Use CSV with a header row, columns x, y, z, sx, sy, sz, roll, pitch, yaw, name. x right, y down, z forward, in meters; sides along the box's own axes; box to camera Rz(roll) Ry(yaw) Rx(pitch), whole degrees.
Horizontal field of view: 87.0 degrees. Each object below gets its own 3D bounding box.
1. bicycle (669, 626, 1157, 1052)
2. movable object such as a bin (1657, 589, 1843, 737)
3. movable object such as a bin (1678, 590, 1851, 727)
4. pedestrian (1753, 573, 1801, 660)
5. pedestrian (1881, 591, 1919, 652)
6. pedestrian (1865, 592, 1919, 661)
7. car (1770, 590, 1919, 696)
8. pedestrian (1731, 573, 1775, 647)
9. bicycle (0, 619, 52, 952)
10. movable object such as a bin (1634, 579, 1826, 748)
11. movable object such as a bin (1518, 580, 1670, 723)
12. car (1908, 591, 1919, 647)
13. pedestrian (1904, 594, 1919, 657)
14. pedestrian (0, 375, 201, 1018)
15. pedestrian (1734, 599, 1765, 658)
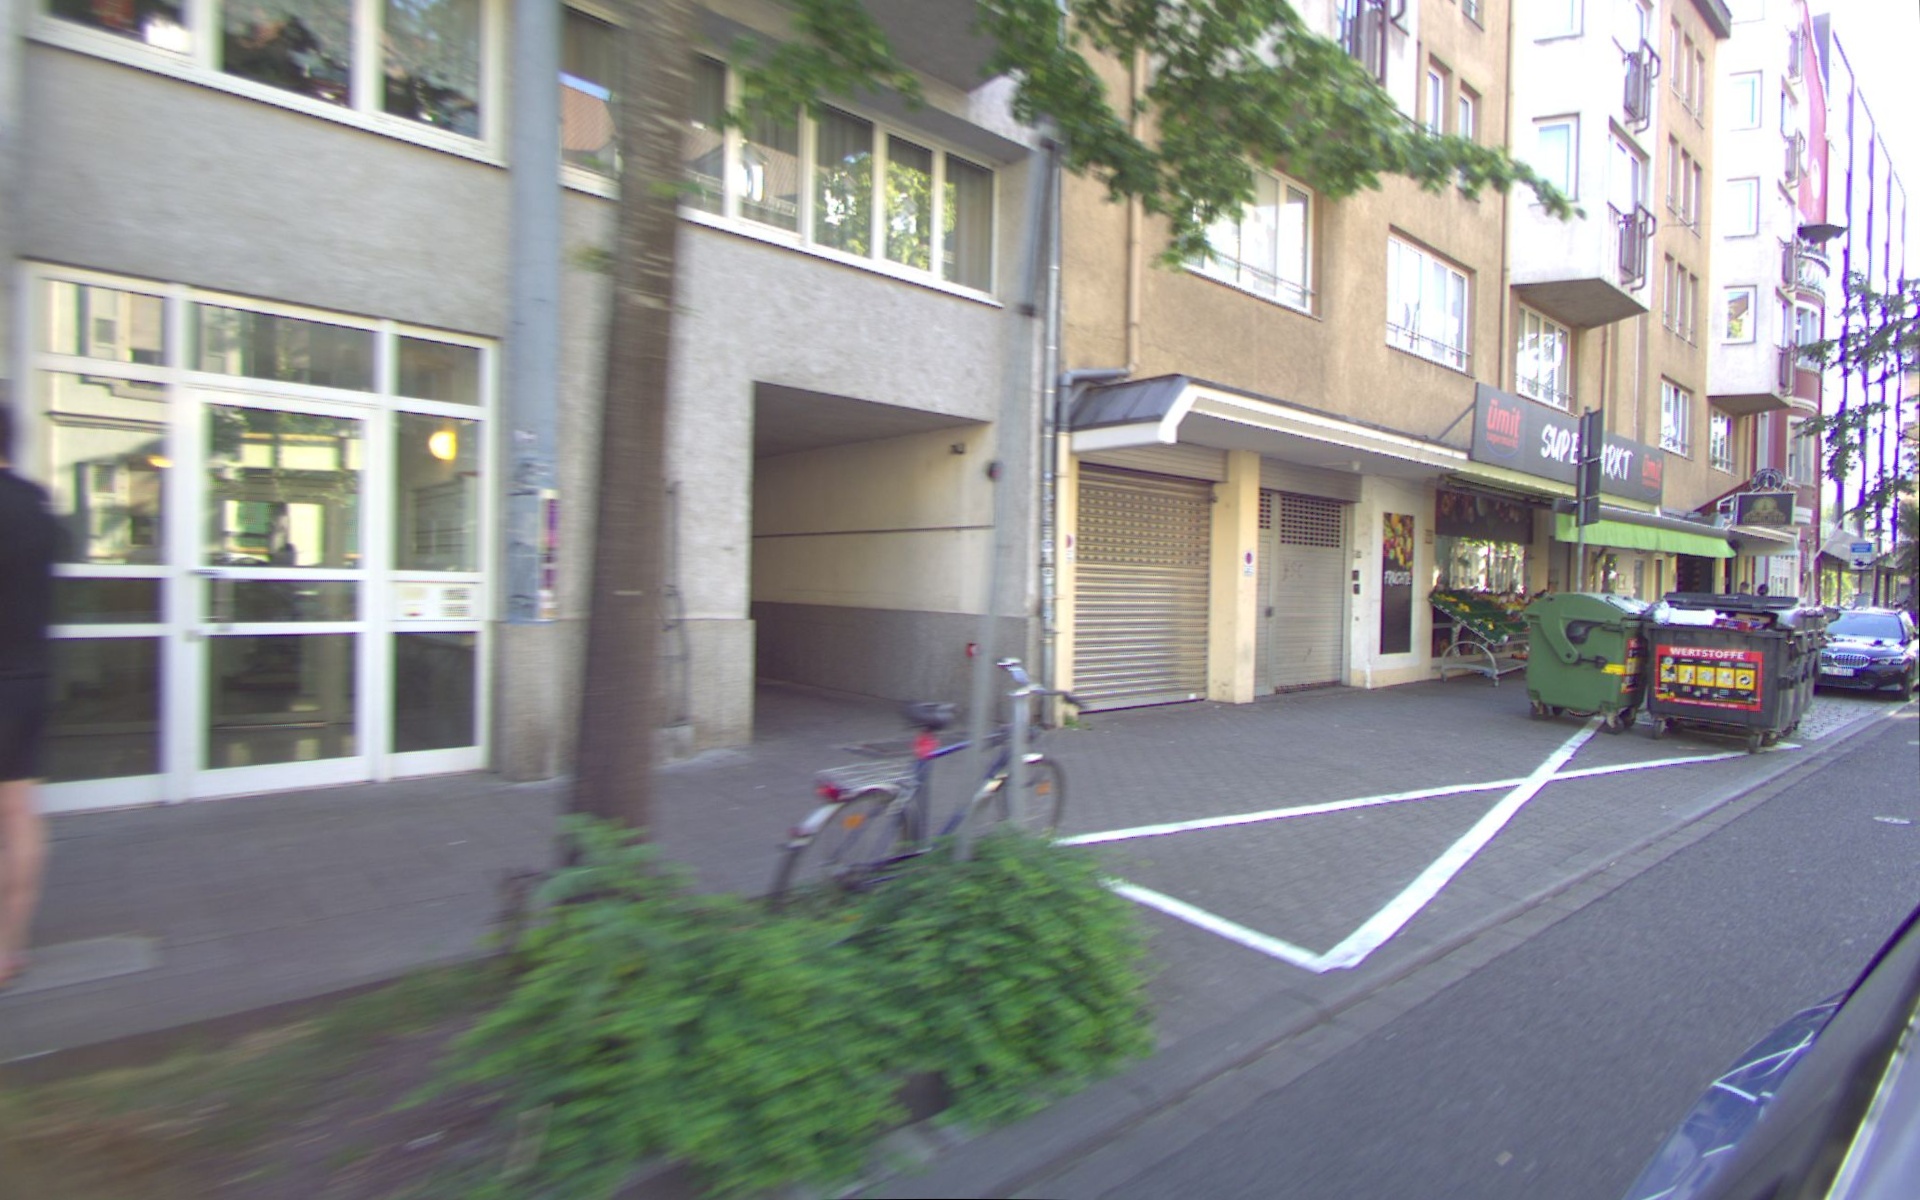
x,y,z,sx,sy,sz,roll,pitch,yaw,name
-0.053,0.740,3.960,0.607,1.133,2.026,10,7,39,bicycle
8.733,0.634,11.209,1.126,1.472,1.402,0,2,-41,movable object such as a bin
9.544,0.637,12.020,1.126,1.472,1.402,0,2,-41,movable object such as a bin
16.566,0.319,20.519,0.749,1.717,0.617,0,2,-44,pedestrian
25.010,0.554,26.550,0.875,1.555,1.059,0,2,-37,pedestrian
21.917,0.609,23.767,0.753,1.555,0.715,1,1,-26,pedestrian
15.833,0.638,17.607,4.826,1.489,1.826,0,4,-41,car
18.553,0.224,23.686,0.622,1.717,0.501,2,1,18,pedestrian
-3.783,0.667,2.941,0.670,1.163,1.682,1,1,7,bicycle
7.909,0.589,10.413,1.126,1.561,1.333,0,1,-41,movable object such as a bin
7.033,0.526,11.230,1.272,1.449,1.079,0,1,-41,movable object such as a bin
30.045,0.609,30.352,4.757,1.615,1.826,0,4,-41,car
23.915,0.633,25.039,0.762,1.555,0.694,0,1,-40,pedestrian
-3.256,0.281,3.469,0.745,1.960,0.930,1,1,-16,pedestrian
16.182,0.569,20.741,0.443,1.177,0.493,2,1,42,pedestrian
